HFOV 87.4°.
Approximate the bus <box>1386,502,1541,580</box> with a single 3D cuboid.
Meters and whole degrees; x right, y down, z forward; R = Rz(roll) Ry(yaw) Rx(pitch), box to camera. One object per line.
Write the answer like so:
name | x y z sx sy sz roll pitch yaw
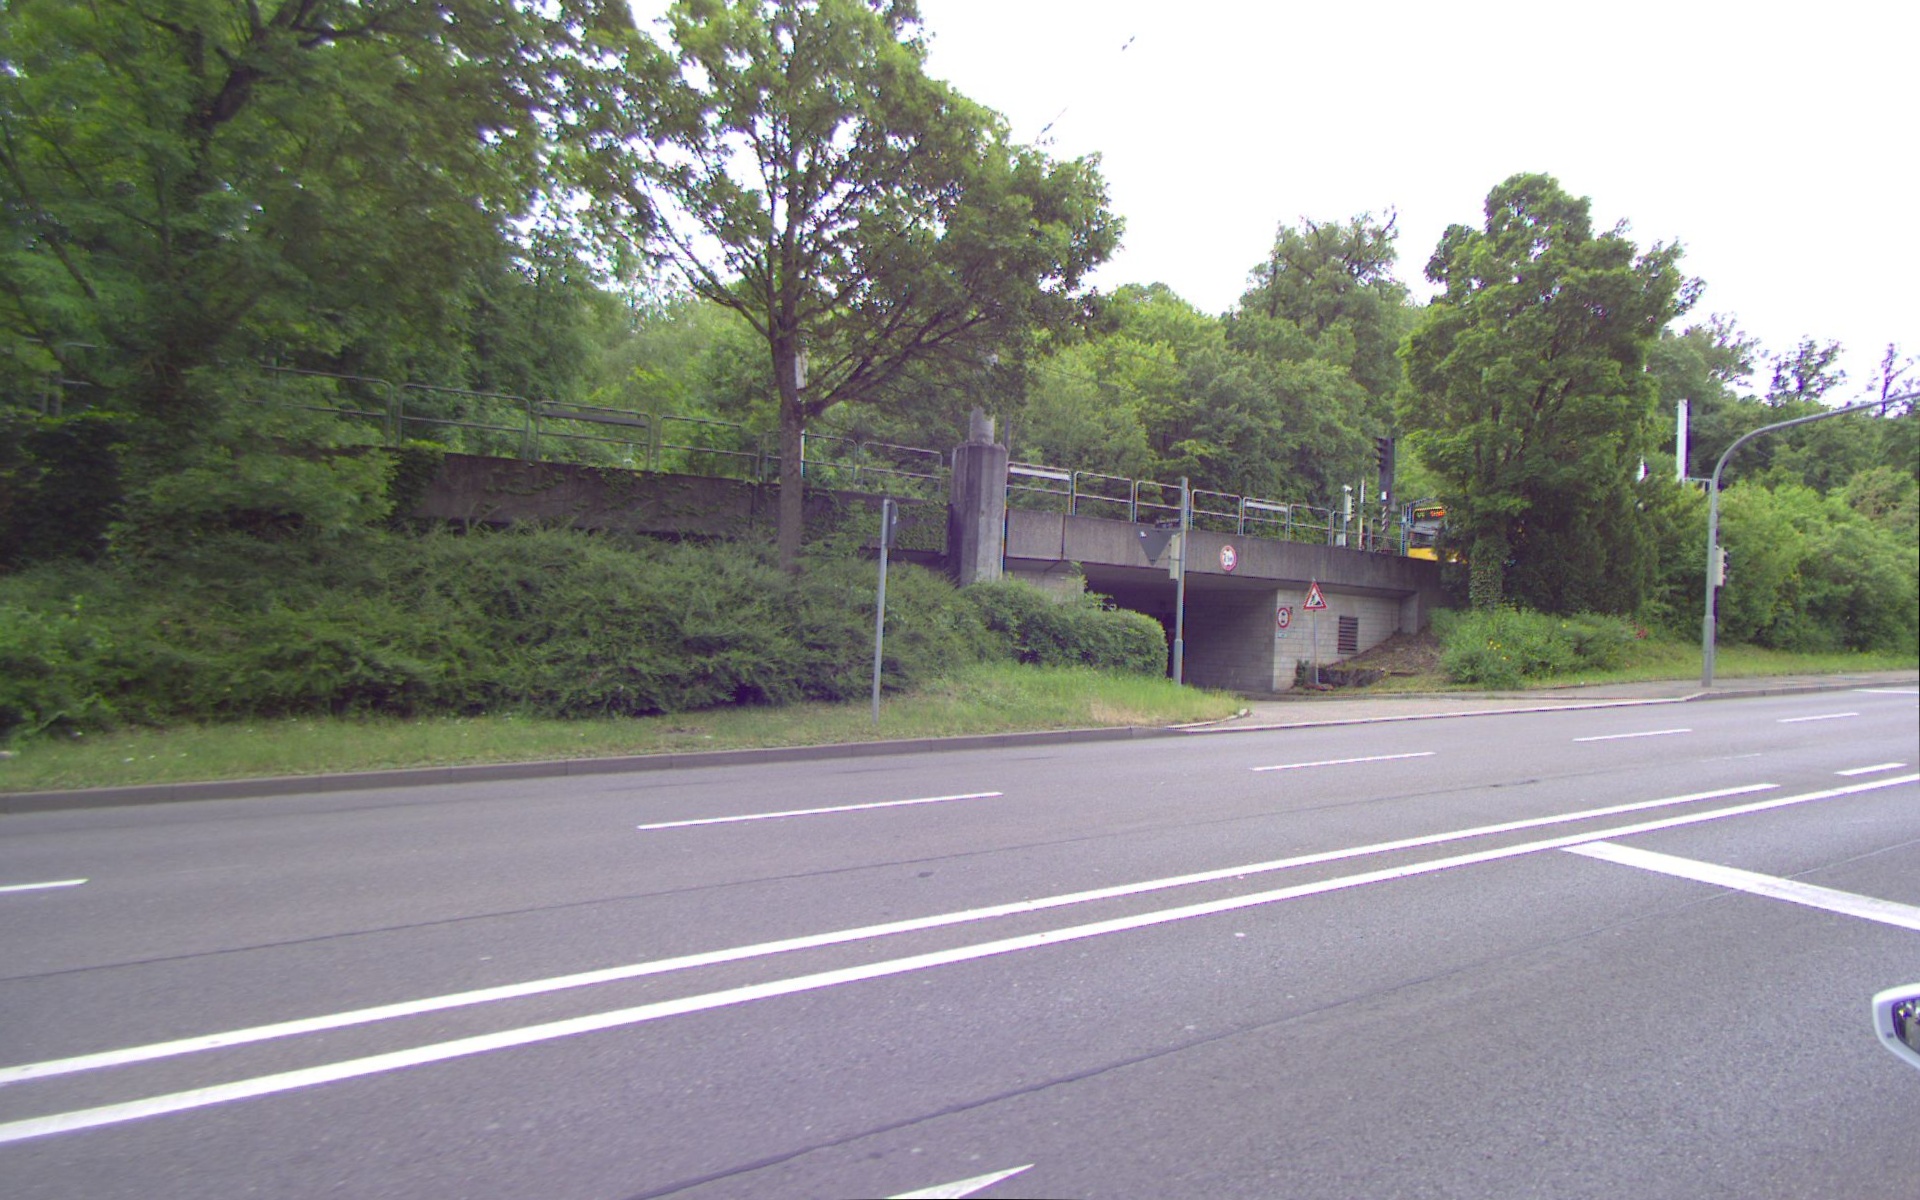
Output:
bus | 23.022 -2.574 45.773 7.852 2.825 2.528 3 -2 -31
